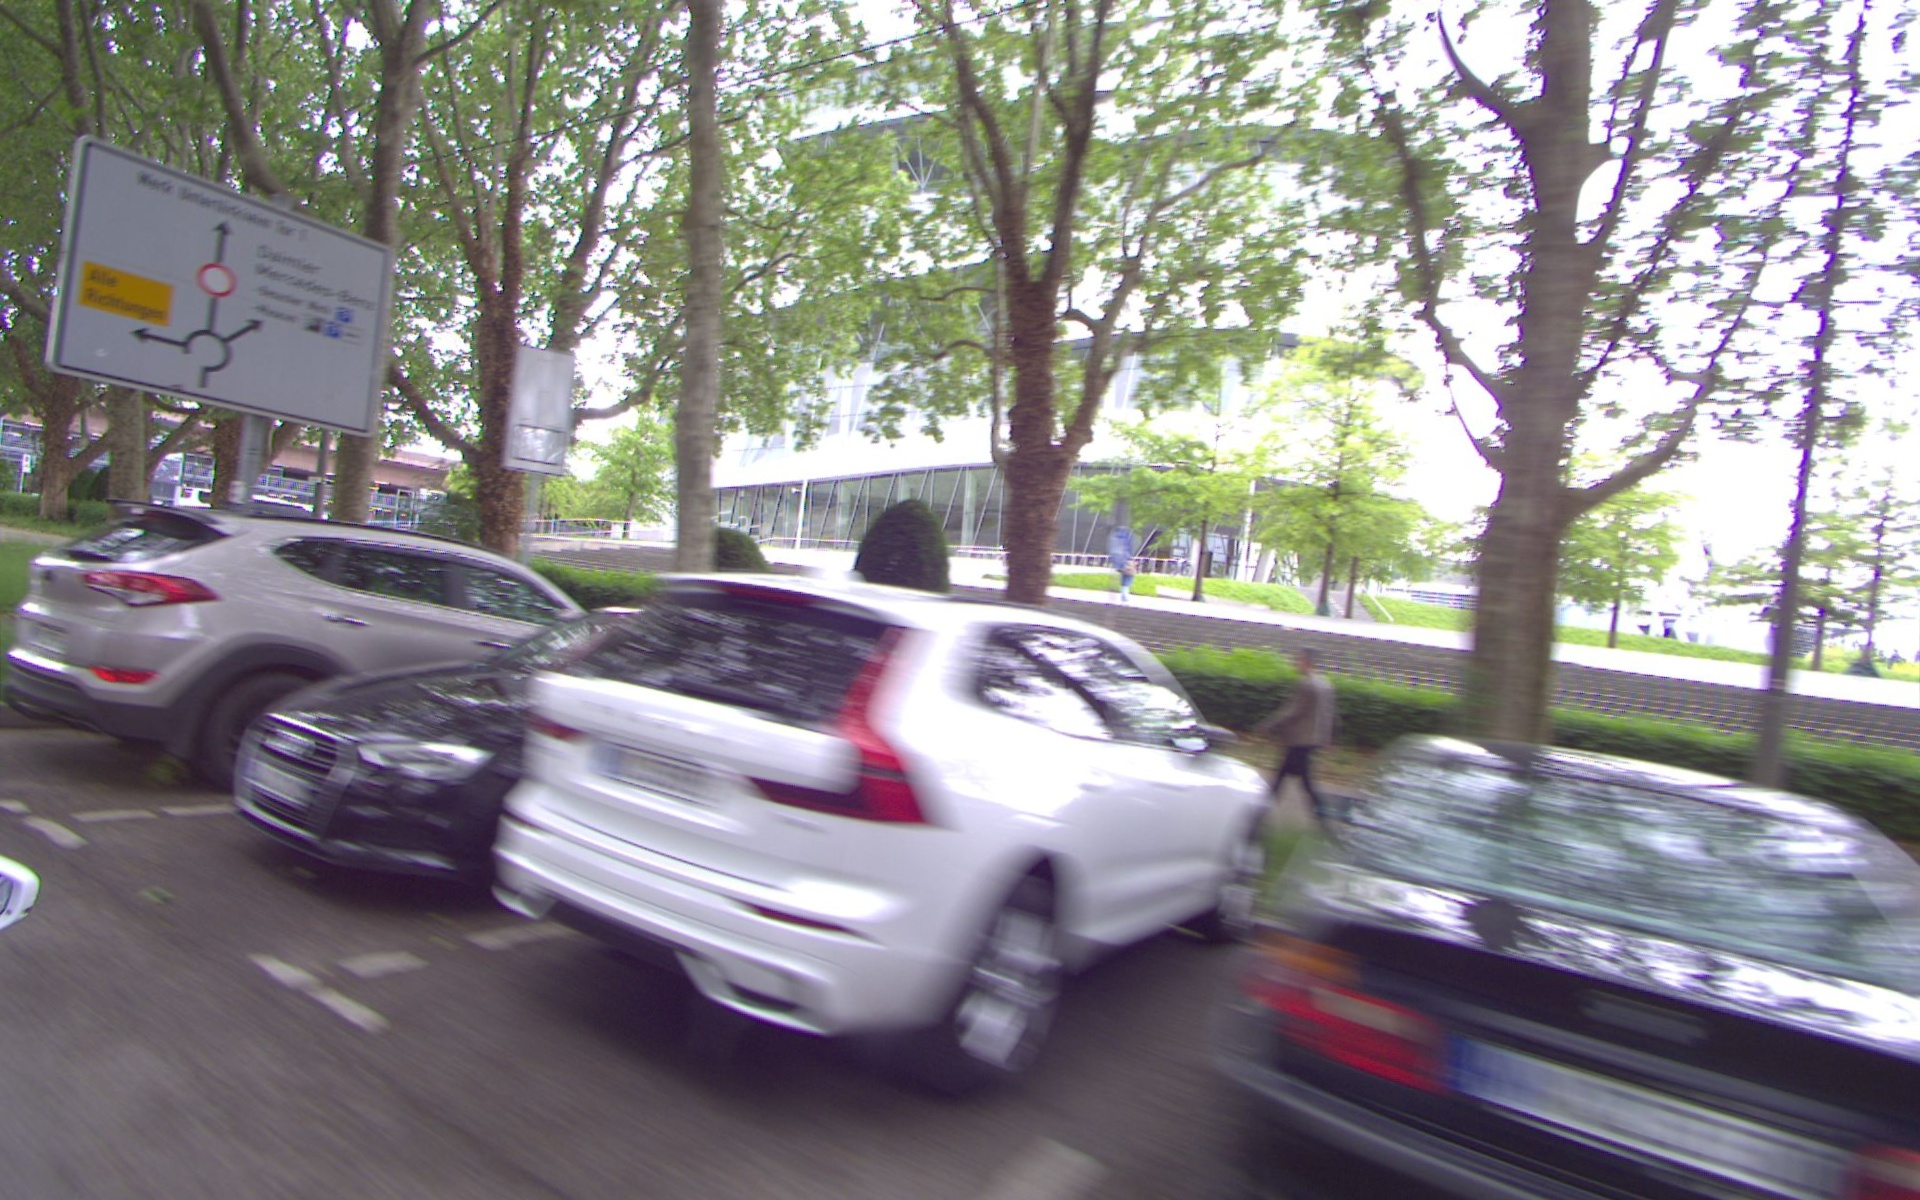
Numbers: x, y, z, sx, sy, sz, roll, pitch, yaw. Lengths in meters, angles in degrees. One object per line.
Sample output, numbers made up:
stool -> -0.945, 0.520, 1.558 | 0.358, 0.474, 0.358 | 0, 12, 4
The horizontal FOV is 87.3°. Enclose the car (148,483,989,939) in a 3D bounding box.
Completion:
car -> -1.816, 0.583, 6.108 | 1.894, 1.623, 4.355 | 8, -2, 32

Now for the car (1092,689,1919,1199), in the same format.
car -> 2.028, 1.204, 3.431 | 1.746, 1.418, 3.740 | 7, -3, 31

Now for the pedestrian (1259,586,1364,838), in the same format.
pedestrian -> 3.056, 0.950, 8.810 | 0.587, 2.038, 0.788 | 7, 0, 15

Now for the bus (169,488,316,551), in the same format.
bus -> -65.126, -7.194, 91.809 | 2.707, 3.980, 11.092 | 7, -2, 19

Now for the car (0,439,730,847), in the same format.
car -> -3.939, 0.342, 7.322 | 1.967, 2.037, 3.995 | 8, -2, 32

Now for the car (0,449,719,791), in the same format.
car -> -4.095, 0.241, 7.280 | 1.894, 1.652, 4.355 | 8, -2, 32

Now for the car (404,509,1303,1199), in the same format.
car -> 0.085, 0.832, 4.864 | 1.894, 1.652, 4.355 | 8, -2, 32
